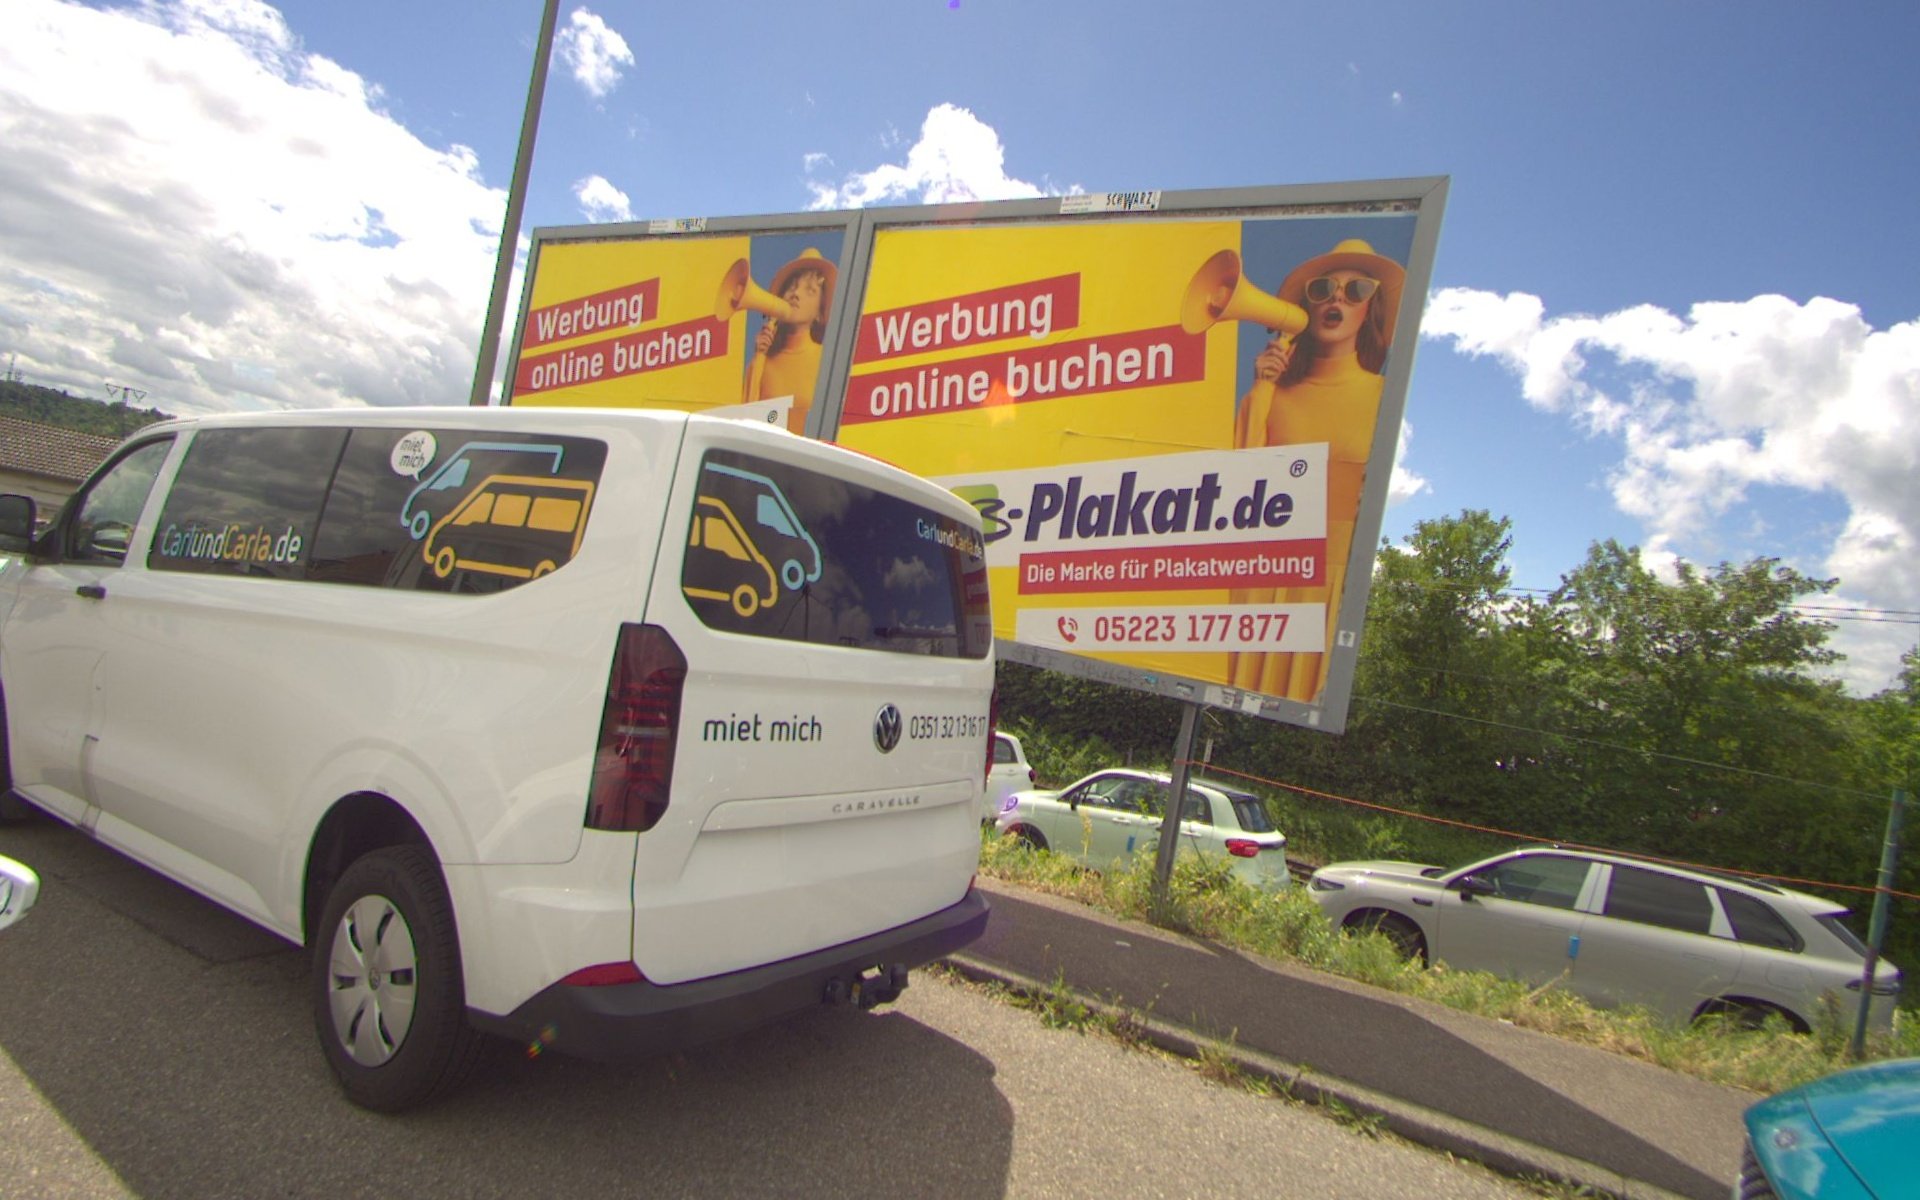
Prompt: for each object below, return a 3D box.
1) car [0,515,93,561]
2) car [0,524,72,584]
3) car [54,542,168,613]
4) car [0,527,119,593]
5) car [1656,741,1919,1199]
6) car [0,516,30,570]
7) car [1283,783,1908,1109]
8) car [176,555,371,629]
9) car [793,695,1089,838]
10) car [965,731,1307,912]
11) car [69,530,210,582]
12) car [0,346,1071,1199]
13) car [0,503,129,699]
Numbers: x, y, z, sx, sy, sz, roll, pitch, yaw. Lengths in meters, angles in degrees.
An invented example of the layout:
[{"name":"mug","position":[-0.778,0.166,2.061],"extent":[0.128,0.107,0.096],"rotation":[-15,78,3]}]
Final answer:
[{"name":"car","position":[-37.133,-2.523,39.761],"extent":[3.999,1.407,1.513],"rotation":[7,0,-30]},{"name":"car","position":[-31.488,-1.610,33.641],"extent":[4.396,1.641,1.811],"rotation":[7,0,38]},{"name":"car","position":[-23.787,-0.651,28.133],"extent":[4.094,1.463,1.694],"rotation":[7,-3,41]},{"name":"car","position":[-27.733,-1.245,30.943],"extent":[4.511,1.536,1.752],"rotation":[7,0,36]},{"name":"car","position":[3.241,1.234,1.040],"extent":[3.911,1.467,1.597],"rotation":[7,-2,30]},{"name":"car","position":[-35.641,-2.206,36.842],"extent":[4.612,1.705,1.747],"rotation":[7,0,41]},{"name":"car","position":[5.655,2.946,9.529],"extent":[4.484,1.458,1.818],"rotation":[7,-2,35]},{"name":"car","position":[-20.870,-0.209,30.736],"extent":[1.971,1.572,4.445],"rotation":[7,-2,40]},{"name":"car","position":[-0.156,2.301,14.091],"extent":[3.978,1.507,1.626],"rotation":[9,-2,-44]},{"name":"car","position":[2.076,2.532,12.187],"extent":[3.652,1.274,1.574],"rotation":[7,-2,34]},{"name":"car","position":[-30.938,-1.641,38.049],"extent":[3.973,1.407,1.579],"rotation":[8,0,-41]},{"name":"car","position":[-2.501,0.283,4.478],"extent":[5.456,2.027,1.979],"rotation":[7,-2,33]},{"name":"car","position":[-8.856,-0.216,8.380],"extent":[4.135,1.403,1.641],"rotation":[7,-2,32]}]
